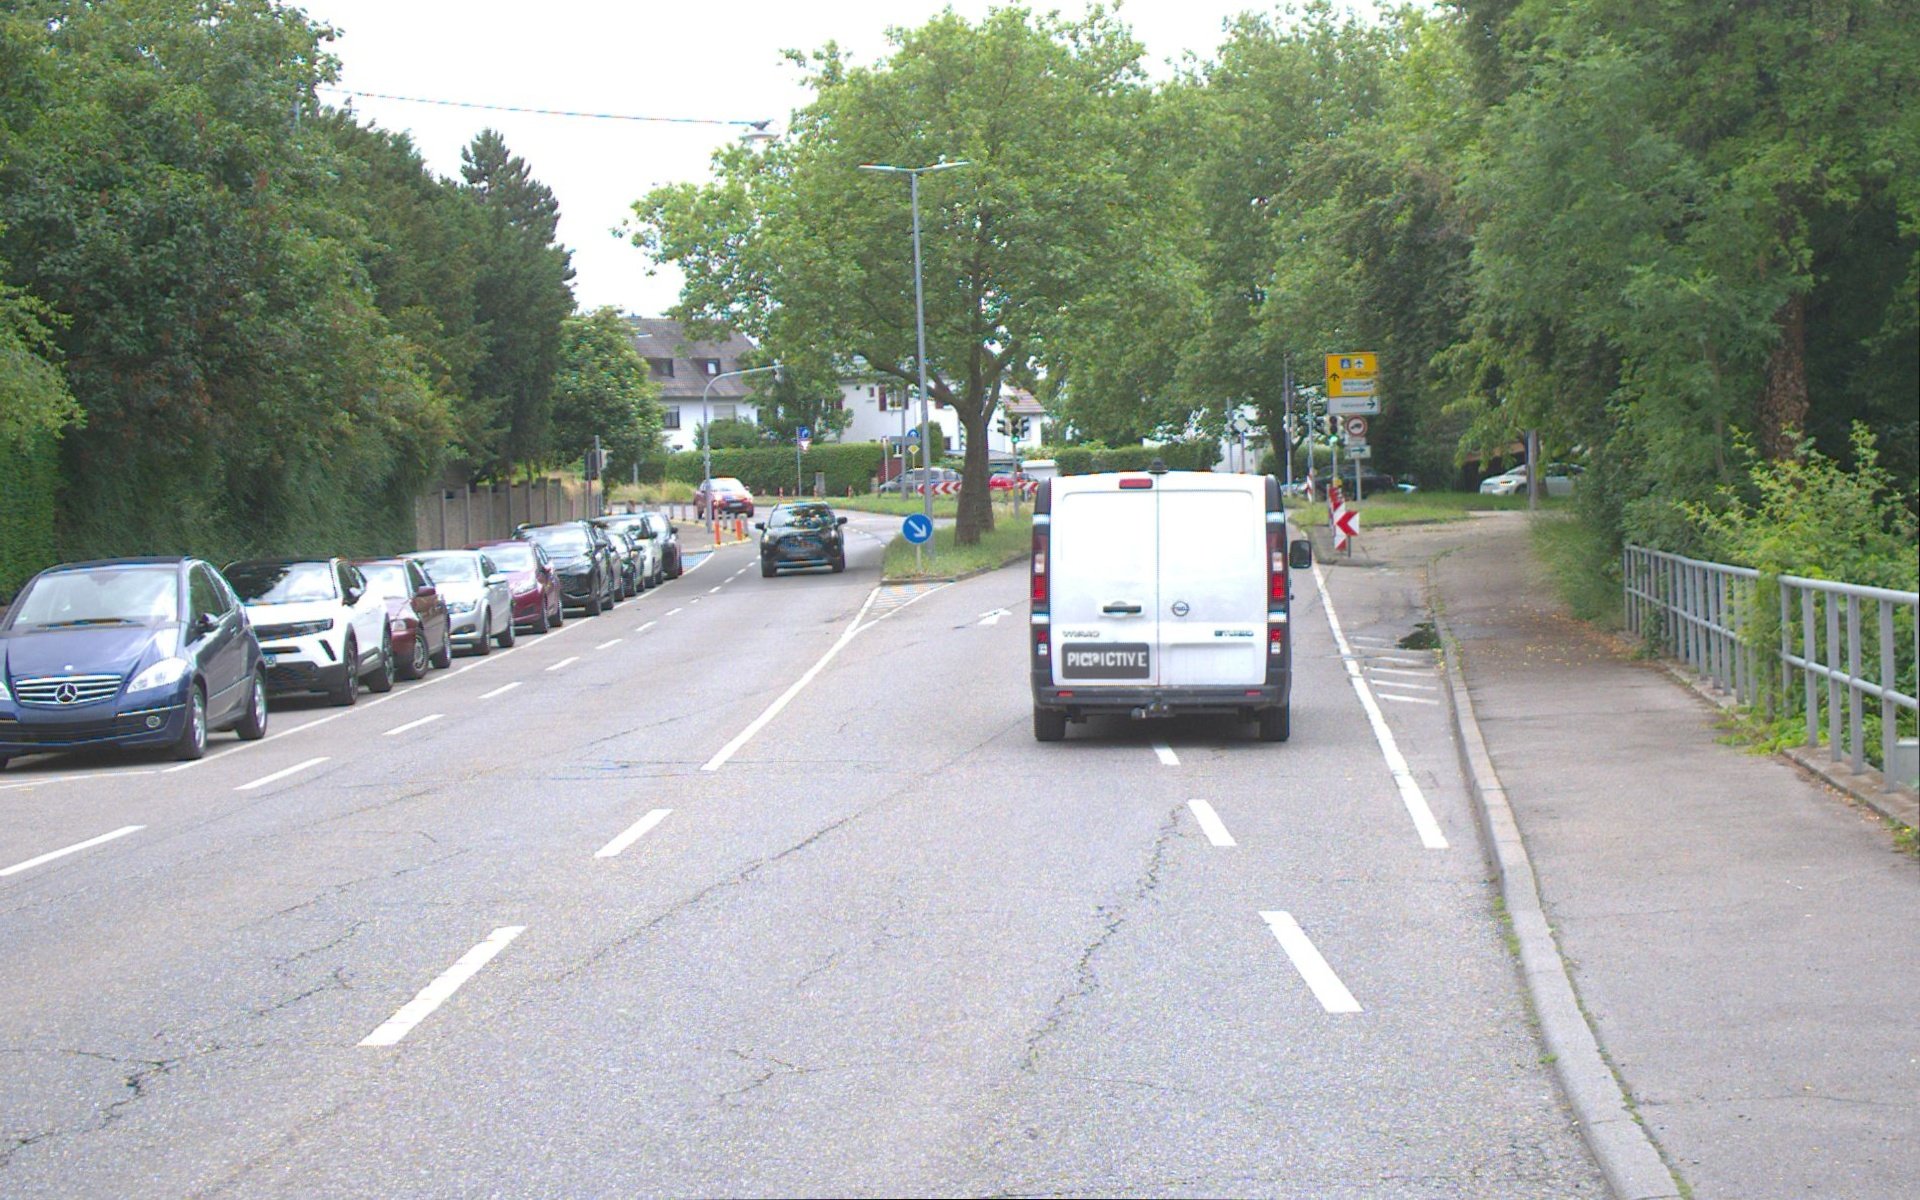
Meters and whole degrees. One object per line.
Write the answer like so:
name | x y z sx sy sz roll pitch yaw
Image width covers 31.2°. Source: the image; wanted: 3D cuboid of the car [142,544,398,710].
car | -7.102 0.233 35.760 1.889 1.489 4.027 -4 1 -2

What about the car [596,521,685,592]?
car | -7.694 -1.069 83.123 1.887 1.619 4.431 -2 1 -2

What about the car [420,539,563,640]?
car | -7.370 -0.199 54.379 1.779 1.433 4.001 -3 1 -2

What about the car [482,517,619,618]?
car | -7.261 -0.611 61.357 1.993 1.637 4.467 -3 1 -2

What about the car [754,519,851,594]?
car | -3.633 -1.016 79.950 1.842 1.641 4.213 -2 1 2

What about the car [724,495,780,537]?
car | -8.352 -3.380 138.311 1.998 1.582 3.998 -3 1 0

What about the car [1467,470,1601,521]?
car | 21.708 -3.948 129.969 4.729 1.763 2.000 -3 2 -29

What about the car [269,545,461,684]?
car | -7.086 0.131 41.256 1.669 1.473 3.911 -3 1 -2

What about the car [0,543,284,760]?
car | -6.733 0.369 27.909 1.678 1.551 3.972 -4 1 -1

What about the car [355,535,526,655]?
car | -7.138 -0.109 47.577 1.669 1.483 4.431 -3 1 -1

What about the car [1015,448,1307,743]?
car | 1.529 -0.081 26.254 2.006 2.031 5.010 0 1 3

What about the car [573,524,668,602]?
car | -7.653 -0.868 77.781 1.672 1.586 4.097 -4 2 0
